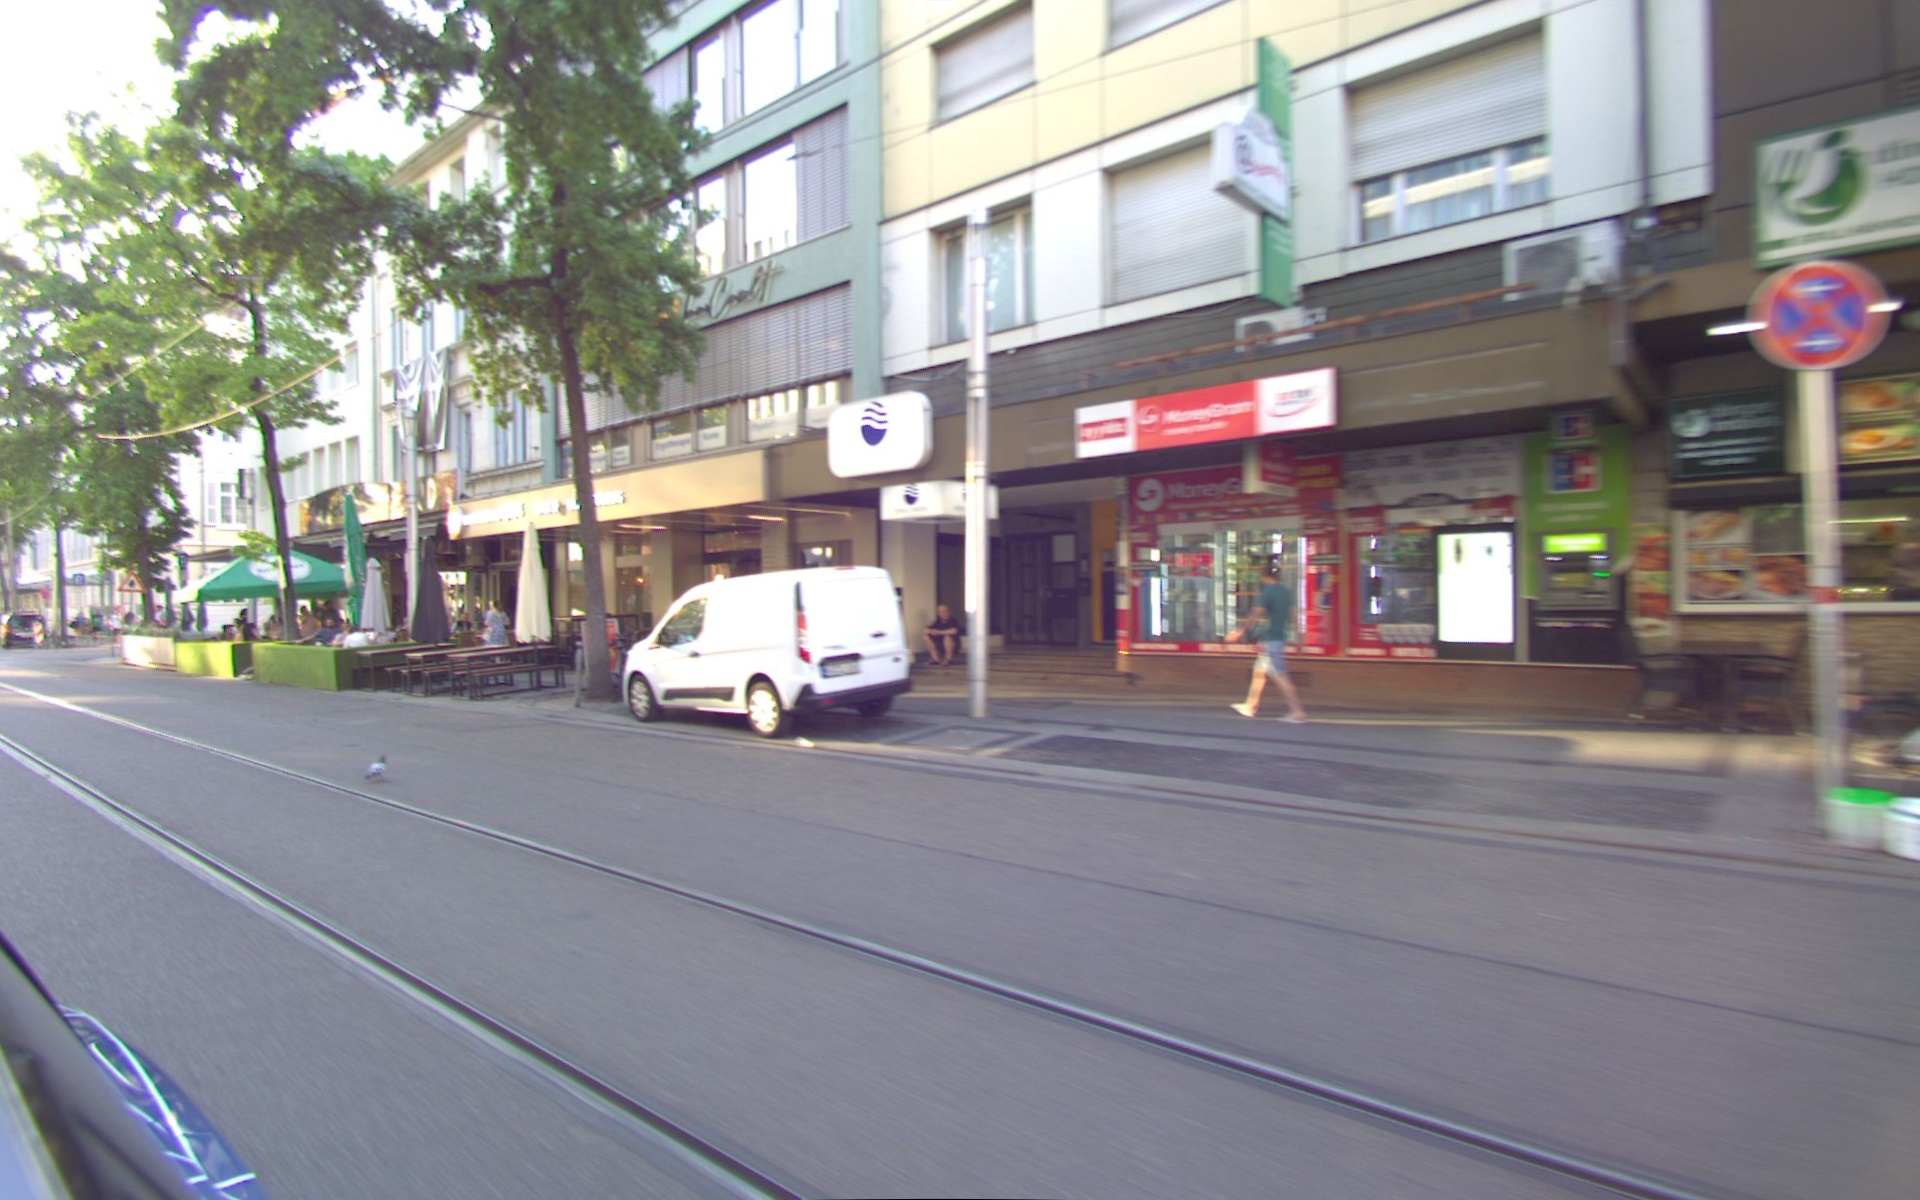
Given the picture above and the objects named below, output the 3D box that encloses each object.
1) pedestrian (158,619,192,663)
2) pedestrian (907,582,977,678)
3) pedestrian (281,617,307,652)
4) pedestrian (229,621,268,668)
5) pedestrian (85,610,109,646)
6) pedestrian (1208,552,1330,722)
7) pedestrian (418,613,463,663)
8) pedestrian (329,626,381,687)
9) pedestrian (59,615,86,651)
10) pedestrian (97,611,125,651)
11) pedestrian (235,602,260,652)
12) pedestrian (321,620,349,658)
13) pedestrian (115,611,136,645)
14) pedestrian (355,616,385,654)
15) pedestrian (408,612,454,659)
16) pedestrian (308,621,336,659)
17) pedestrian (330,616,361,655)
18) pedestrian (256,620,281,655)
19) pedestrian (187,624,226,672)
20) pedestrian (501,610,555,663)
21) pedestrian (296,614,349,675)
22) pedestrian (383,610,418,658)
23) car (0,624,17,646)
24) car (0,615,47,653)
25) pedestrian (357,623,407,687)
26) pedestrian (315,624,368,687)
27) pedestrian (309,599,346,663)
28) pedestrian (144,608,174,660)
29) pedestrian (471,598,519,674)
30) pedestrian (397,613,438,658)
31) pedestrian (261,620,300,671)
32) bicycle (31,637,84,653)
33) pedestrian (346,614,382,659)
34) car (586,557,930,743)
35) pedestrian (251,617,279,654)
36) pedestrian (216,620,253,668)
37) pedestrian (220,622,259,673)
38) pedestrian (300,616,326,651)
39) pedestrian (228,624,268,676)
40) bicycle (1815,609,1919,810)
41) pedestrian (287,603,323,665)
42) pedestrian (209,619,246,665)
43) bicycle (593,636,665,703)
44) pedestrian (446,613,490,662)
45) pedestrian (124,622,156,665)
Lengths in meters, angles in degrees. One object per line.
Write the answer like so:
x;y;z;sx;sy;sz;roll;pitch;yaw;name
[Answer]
-25.889;1.355;33.370;0.806;1.397;0.682;-1;1;42;pedestrian
-0.289;0.471;16.493;0.764;1.477;0.762;-1;2;38;pedestrian
-23.122;1.192;35.140;0.686;1.170;0.546;-1;1;41;pedestrian
-20.358;1.254;28.944;0.869;1.269;0.700;-1;1;43;pedestrian
-45.004;1.474;52.769;0.875;1.826;0.712;-1;2;40;pedestrian
3.265;0.371;10.698;1.004;1.698;0.660;-1;1;40;pedestrian
-13.654;0.992;26.586;0.787;1.222;0.729;-1;3;40;pedestrian
-12.611;1.164;21.103;0.797;1.202;0.650;-1;3;40;pedestrian
-45.626;1.679;52.036;0.884;1.795;0.857;-1;2;40;pedestrian
-39.713;1.426;47.333;0.984;1.805;0.766;-1;2;42;pedestrian
-26.987;1.020;38.325;0.675;1.829;0.766;-3;1;-34;pedestrian
-20.018;1.234;32.395;0.686;1.170;0.546;-1;1;41;pedestrian
-42.400;1.418;51.406;0.967;1.669;0.699;-2;-1;42;pedestrian
-18.746;1.100;32.154;0.687;1.167;0.595;-1;1;41;pedestrian
-14.719;0.978;28.177;0.944;1.246;0.769;-1;3;40;pedestrian
-20.810;1.294;33.017;0.686;1.170;0.546;-1;1;41;pedestrian
-19.231;1.109;31.673;0.687;1.182;0.595;-1;1;41;pedestrian
-24.865;1.343;36.374;0.686;1.244;0.546;-1;1;41;pedestrian
-21.011;1.331;28.212;0.772;1.269;0.700;-1;1;43;pedestrian
-10.391;0.866;24.341;1.064;1.197;0.745;-1;3;40;pedestrian
-15.051;1.043;23.903;0.872;1.353;0.747;-1;3;40;pedestrian
-16.377;0.987;29.642;0.696;1.319;0.613;-1;3;40;pedestrian
-59.570;2.189;62.283;4.504;1.254;1.700;-1;2;41;car
-49.542;1.741;53.199;4.558;1.846;1.838;-1;1;42;car
-12.618;1.183;22.085;0.797;1.302;0.650;-1;3;40;pedestrian
-13.222;1.176;21.637;0.872;1.253;0.650;-1;3;40;pedestrian
-18.150;0.878;29.062;0.697;1.770;0.670;-1;1;42;pedestrian
-28.774;1.197;36.367;0.747;1.805;0.688;-3;1;-41;pedestrian
-10.147;0.774;22.085;0.700;1.586;0.641;-1;2;40;pedestrian
-15.575;1.008;29.035;0.787;1.241;0.729;-1;3;40;pedestrian
-17.606;1.174;26.225;0.696;1.254;0.613;-1;3;40;pedestrian
-42.760;2.114;47.975;1.282;0.613;1.775;-1;1;44;bicycle
-17.639;1.074;29.951;0.798;1.251;0.663;-1;1;40;pedestrian
-2.669;0.533;12.672;4.552;1.878;1.777;-1;2;42;car
-25.441;1.298;37.052;0.727;1.291;0.620;-1;1;41;pedestrian
-21.365;1.275;29.795;0.781;1.357;0.700;-1;1;43;pedestrian
-18.756;1.236;26.343;0.696;1.254;0.613;-1;3;40;pedestrian
-22.754;1.179;35.579;0.686;1.170;0.546;-1;1;41;pedestrian
-18.030;1.250;25.621;0.696;1.254;0.613;-1;3;40;pedestrian
6.440;0.615;5.898;2.073;1.129;0.694;-3;2;24;bicycle
-18.450;0.946;28.528;0.696;1.683;0.612;-1;1;40;pedestrian
-22.005;1.264;30.395;0.806;1.321;0.682;-1;1;42;pedestrian
-5.284;1.088;16.255;0.823;0.871;1.865;-3;1;-11;bicycle
-12.582;0.951;25.863;0.787;1.176;0.693;-1;3;40;pedestrian
-27.501;1.457;33.944;0.806;1.397;0.682;-1;1;42;pedestrian
